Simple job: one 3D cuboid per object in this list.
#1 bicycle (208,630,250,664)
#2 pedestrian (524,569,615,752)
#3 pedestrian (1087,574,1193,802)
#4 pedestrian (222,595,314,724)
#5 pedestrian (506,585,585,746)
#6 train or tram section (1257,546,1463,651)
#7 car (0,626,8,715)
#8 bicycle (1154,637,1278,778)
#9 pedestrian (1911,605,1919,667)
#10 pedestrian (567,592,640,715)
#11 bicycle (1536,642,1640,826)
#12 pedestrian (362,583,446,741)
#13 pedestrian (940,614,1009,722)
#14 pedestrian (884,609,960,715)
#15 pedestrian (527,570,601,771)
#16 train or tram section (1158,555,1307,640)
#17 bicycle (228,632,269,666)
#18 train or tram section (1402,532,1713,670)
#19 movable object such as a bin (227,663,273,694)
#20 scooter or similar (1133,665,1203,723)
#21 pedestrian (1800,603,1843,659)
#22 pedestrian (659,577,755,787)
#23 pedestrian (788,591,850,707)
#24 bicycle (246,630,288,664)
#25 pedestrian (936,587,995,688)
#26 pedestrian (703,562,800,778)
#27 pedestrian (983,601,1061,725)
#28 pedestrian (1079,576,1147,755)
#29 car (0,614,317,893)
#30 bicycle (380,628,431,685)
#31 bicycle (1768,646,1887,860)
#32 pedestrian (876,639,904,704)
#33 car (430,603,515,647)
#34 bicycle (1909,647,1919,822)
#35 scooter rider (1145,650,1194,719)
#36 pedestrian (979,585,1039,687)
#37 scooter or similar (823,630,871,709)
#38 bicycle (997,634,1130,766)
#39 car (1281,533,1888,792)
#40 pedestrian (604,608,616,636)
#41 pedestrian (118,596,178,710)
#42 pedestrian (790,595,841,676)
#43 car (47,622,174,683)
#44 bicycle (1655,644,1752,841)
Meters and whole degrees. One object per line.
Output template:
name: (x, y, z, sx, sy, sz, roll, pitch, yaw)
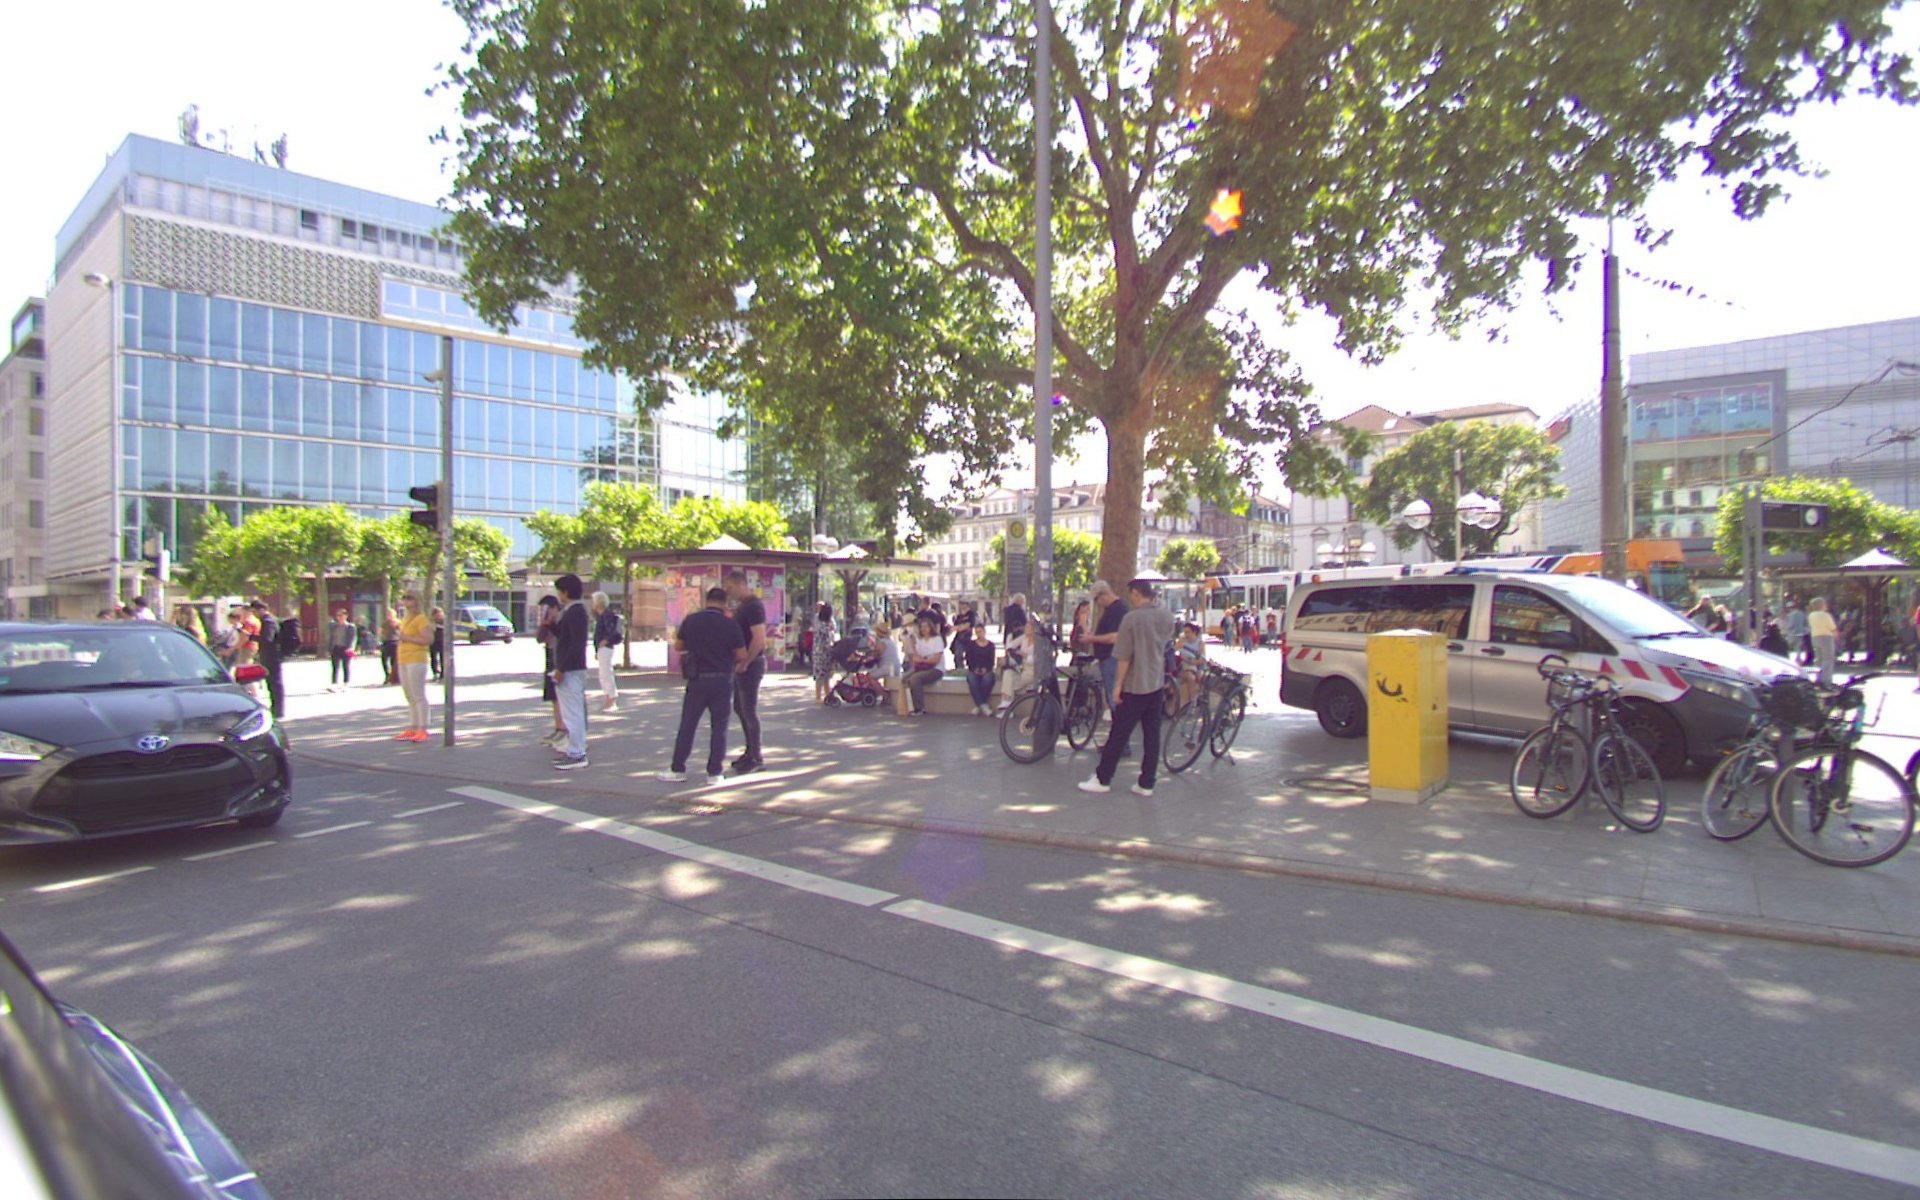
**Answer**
bicycle: (-25.350, 1.620, 35.103, 1.753, 1.156, 0.586, -1, -1, 33)
pedestrian: (-4.150, 0.623, 10.757, 0.737, 1.860, 0.587, -1, -2, 38)
pedestrian: (1.429, 0.654, 7.990, 0.639, 1.704, 0.638, -1, 1, 27)
pedestrian: (-9.934, 0.820, 14.538, 0.732, 1.760, 0.866, -1, 1, 38)
pedestrian: (-4.617, 0.704, 11.287, 0.606, 1.728, 0.597, -1, -1, 38)
train or tram section: (16.382, -0.100, 42.541, 2.577, 3.856, 9.548, -2, 1, -17)
car: (-17.333, 1.133, 16.902, 3.998, 1.415, 1.677, -1, -2, 41)
bicycle: (2.453, 0.963, 9.585, 0.482, 1.156, 1.736, -1, 0, 37)
pedestrian: (24.733, 0.909, 25.639, 0.674, 1.561, 0.575, 0, -3, 16)
pedestrian: (-5.309, 0.771, 15.076, 0.666, 1.760, 0.742, -1, 1, 38)
bicycle: (4.734, 0.930, 7.582, 0.482, 1.156, 1.736, -1, 0, 37)
pedestrian: (-6.451, 0.694, 11.743, 0.752, 1.760, 0.605, -1, 0, 38)
pedestrian: (0.211, 0.931, 14.166, 0.671, 1.435, 0.745, -1, 1, 30)
pedestrian: (-0.529, 0.854, 14.243, 0.779, 1.418, 0.744, -1, 1, 30)
pedestrian: (-3.728, 0.633, 9.560, 0.529, 1.796, 0.745, -2, 1, -16)
train or tram section: (13.610, -0.174, 51.657, 2.577, 3.856, 9.548, -2, 1, -17)
bicycle: (-25.067, 1.719, 35.651, 1.753, 1.156, 0.586, -1, -1, 33)
train or tram section: (19.121, -0.025, 33.474, 2.577, 3.856, 9.548, -2, 1, -17)
movable object such as a bin: (-15.008, 1.656, 21.399, 0.528, 0.584, 0.654, -1, 1, 38)
scooter or similar: (2.735, 1.230, 13.352, 0.570, 0.652, 0.788, -2, 1, -17)
pedestrian: (24.186, 0.878, 28.417, 0.674, 1.561, 0.575, 0, -3, 16)
pedestrian: (-2.143, 0.651, 8.532, 0.620, 1.661, 0.754, -2, 1, -24)
pedestrian: (-2.240, 0.745, 16.048, 0.739, 1.760, 0.785, -2, 1, -24)
bicycle: (-24.798, 1.674, 36.217, 1.753, 1.156, 0.586, -1, -1, 33)
pedestrian: (0.101, 0.665, 18.388, 0.779, 1.760, 0.744, -1, 1, 30)
pedestrian: (-1.881, 0.598, 9.113, 0.510, 1.849, 0.716, -2, 1, -43)
pedestrian: (0.854, 0.831, 13.801, 0.779, 1.608, 0.744, -1, 1, 30)
pedestrian: (1.553, 0.639, 10.236, 0.516, 1.755, 0.511, -1, 1, 27)
car: (-6.264, 0.852, 7.155, 3.997, 1.486, 1.759, -1, -2, 40)
bicycle: (-12.357, 1.232, 22.520, 0.718, 1.152, 1.917, -2, 1, -37)
bicycle: (5.669, 0.920, 6.669, 0.482, 1.156, 1.736, -1, 0, 37)
pedestrian: (-1.079, 1.100, 15.610, 0.334, 0.974, 0.282, -2, 1, -20)
car: (-24.121, 1.214, 50.055, 3.988, 2.029, 1.978, -1, 1, 33)
bicycle: (6.315, 0.908, 6.244, 0.482, 1.156, 1.736, -1, 0, 37)
scooter rider: (2.744, 1.105, 13.279, 0.499, 0.845, 0.350, -2, 1, -17)
pedestrian: (0.869, 0.624, 18.004, 0.779, 1.760, 0.744, -1, 1, 30)
scooter or similar: (-1.734, 1.048, 15.478, 0.559, 1.128, 0.540, -2, 1, -23)
bicycle: (1.070, 0.947, 10.142, 0.482, 1.156, 1.736, -1, 0, 37)
car: (6.029, 0.456, 10.617, 1.966, 2.029, 5.083, -2, 1, -29)
pedestrian: (-18.455, 1.162, 53.374, 0.399, 1.483, 0.460, -1, 1, 24)
pedestrian: (-14.276, 0.912, 17.789, 0.732, 1.928, 0.631, -1, 1, 38)
pedestrian: (-3.224, 0.775, 22.557, 0.782, 1.760, 0.742, -1, 1, 38)
car: (-32.621, 1.970, 39.024, 1.968, 2.029, 4.009, -2, 1, -10)
bicycle: (5.262, 0.923, 7.147, 0.482, 1.156, 1.736, -1, 0, 37)
